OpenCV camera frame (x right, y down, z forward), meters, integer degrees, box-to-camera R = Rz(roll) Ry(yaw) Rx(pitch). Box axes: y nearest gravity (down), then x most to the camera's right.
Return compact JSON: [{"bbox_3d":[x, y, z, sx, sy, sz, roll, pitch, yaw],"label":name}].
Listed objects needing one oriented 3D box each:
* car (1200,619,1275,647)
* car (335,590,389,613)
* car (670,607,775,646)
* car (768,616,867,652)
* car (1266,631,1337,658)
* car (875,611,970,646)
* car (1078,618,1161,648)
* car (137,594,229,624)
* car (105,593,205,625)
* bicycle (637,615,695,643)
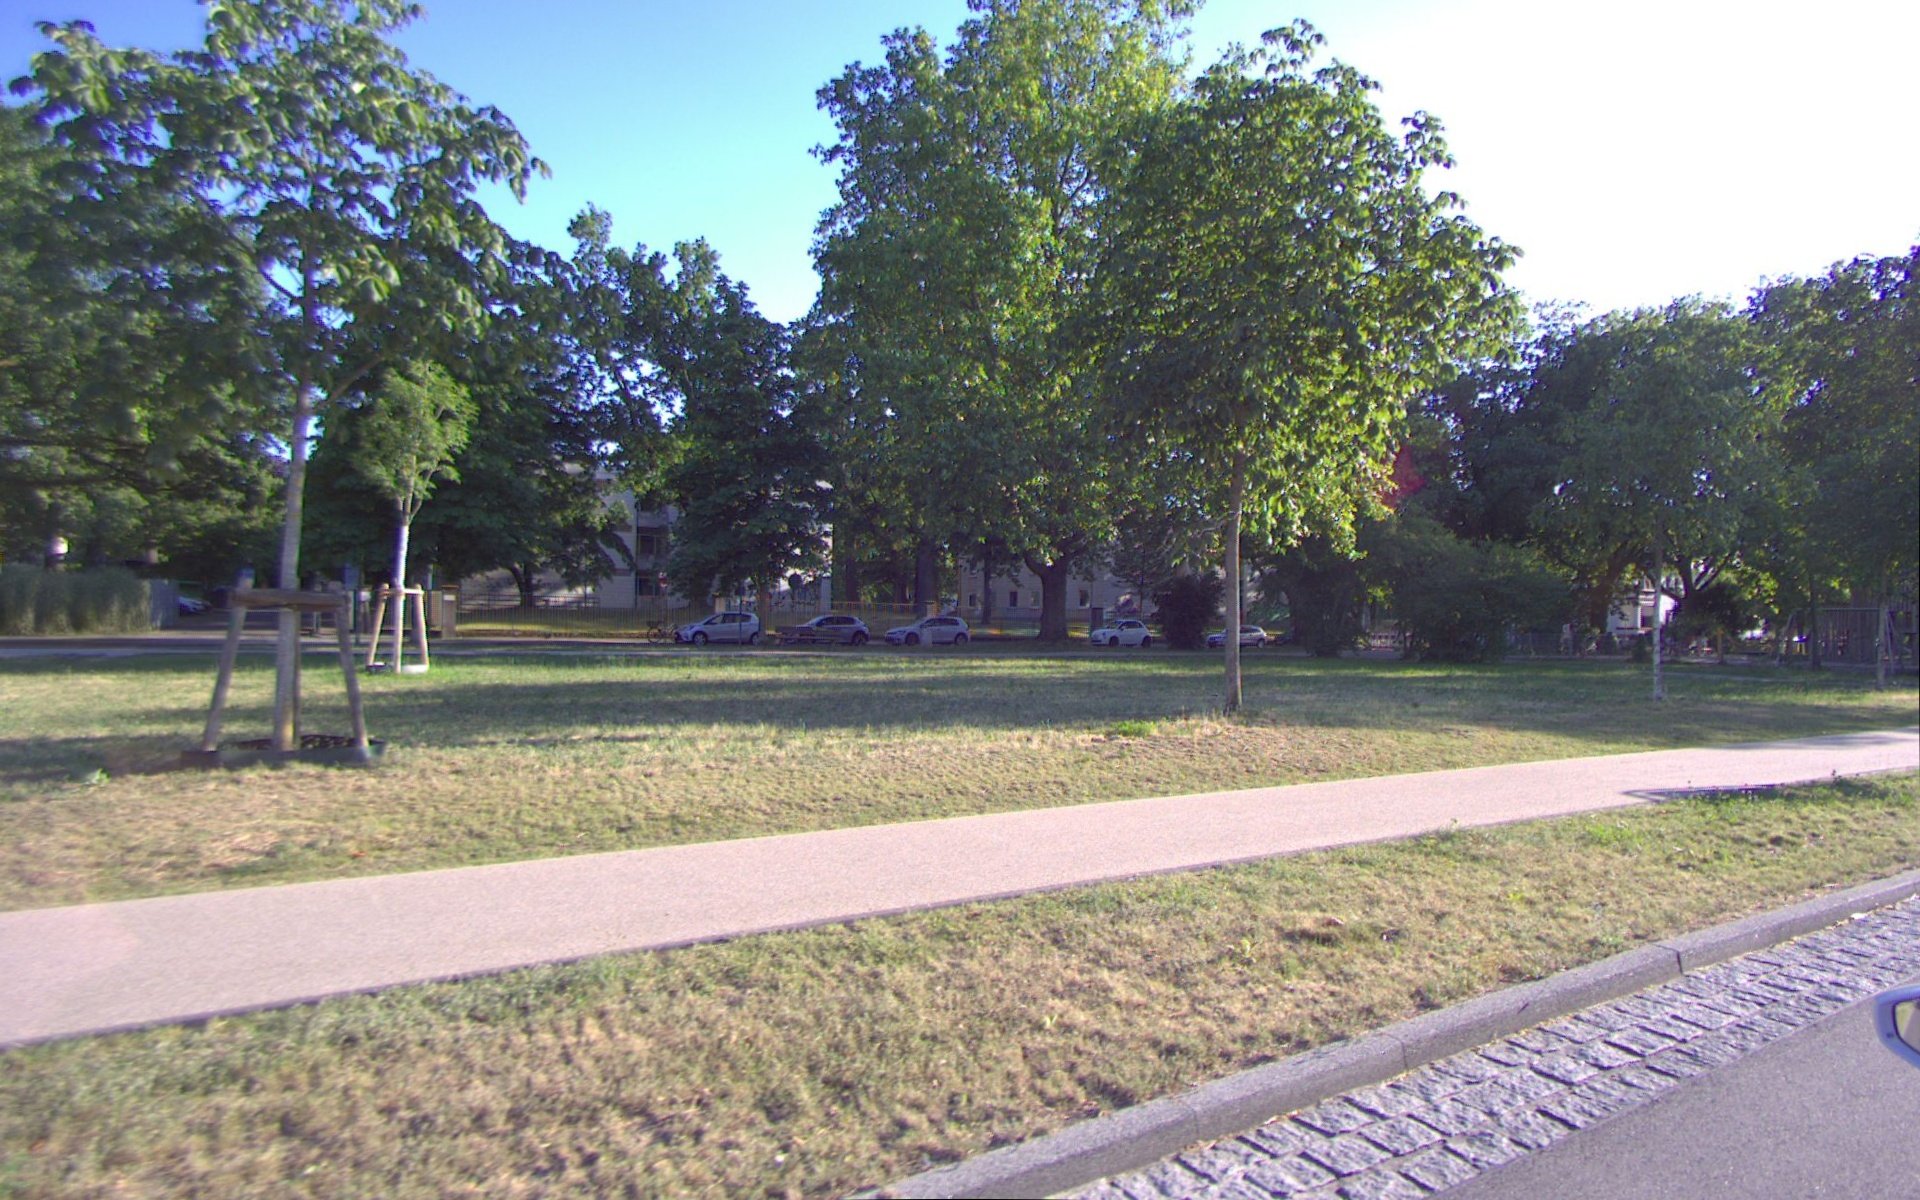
[{"bbox_3d":[16.300,1.913,58.909,4.067,1.528,1.984,2,-2,-30],"label":"car"},{"bbox_3d":[-58.287,0.198,98.030,1.602,2.085,4.242,1,-2,29],"label":"car"},{"bbox_3d":[-10.105,1.138,42.773,3.953,1.528,1.984,2,-2,-30],"label":"car"},{"bbox_3d":[-6.394,1.530,45.065,3.953,1.528,1.984,2,-2,-30],"label":"car"},{"bbox_3d":[21.004,2.738,61.772,4.067,1.528,1.984,2,-2,-30],"label":"car"},{"bbox_3d":[-1.789,1.352,47.700,4.067,1.528,1.984,2,-2,-30],"label":"car"},{"bbox_3d":[8.581,1.775,53.980,4.067,1.528,1.984,2,-2,-30],"label":"car"},{"bbox_3d":[-46.922,0.545,60.759,4.202,1.670,1.618,2,-2,-32],"label":"car"},{"bbox_3d":[-45.761,0.535,57.212,4.202,1.670,1.618,2,-2,-32],"label":"car"},{"bbox_3d":[-12.633,1.253,43.226,2.309,1.191,0.653,2,-2,-34],"label":"bicycle"}]
